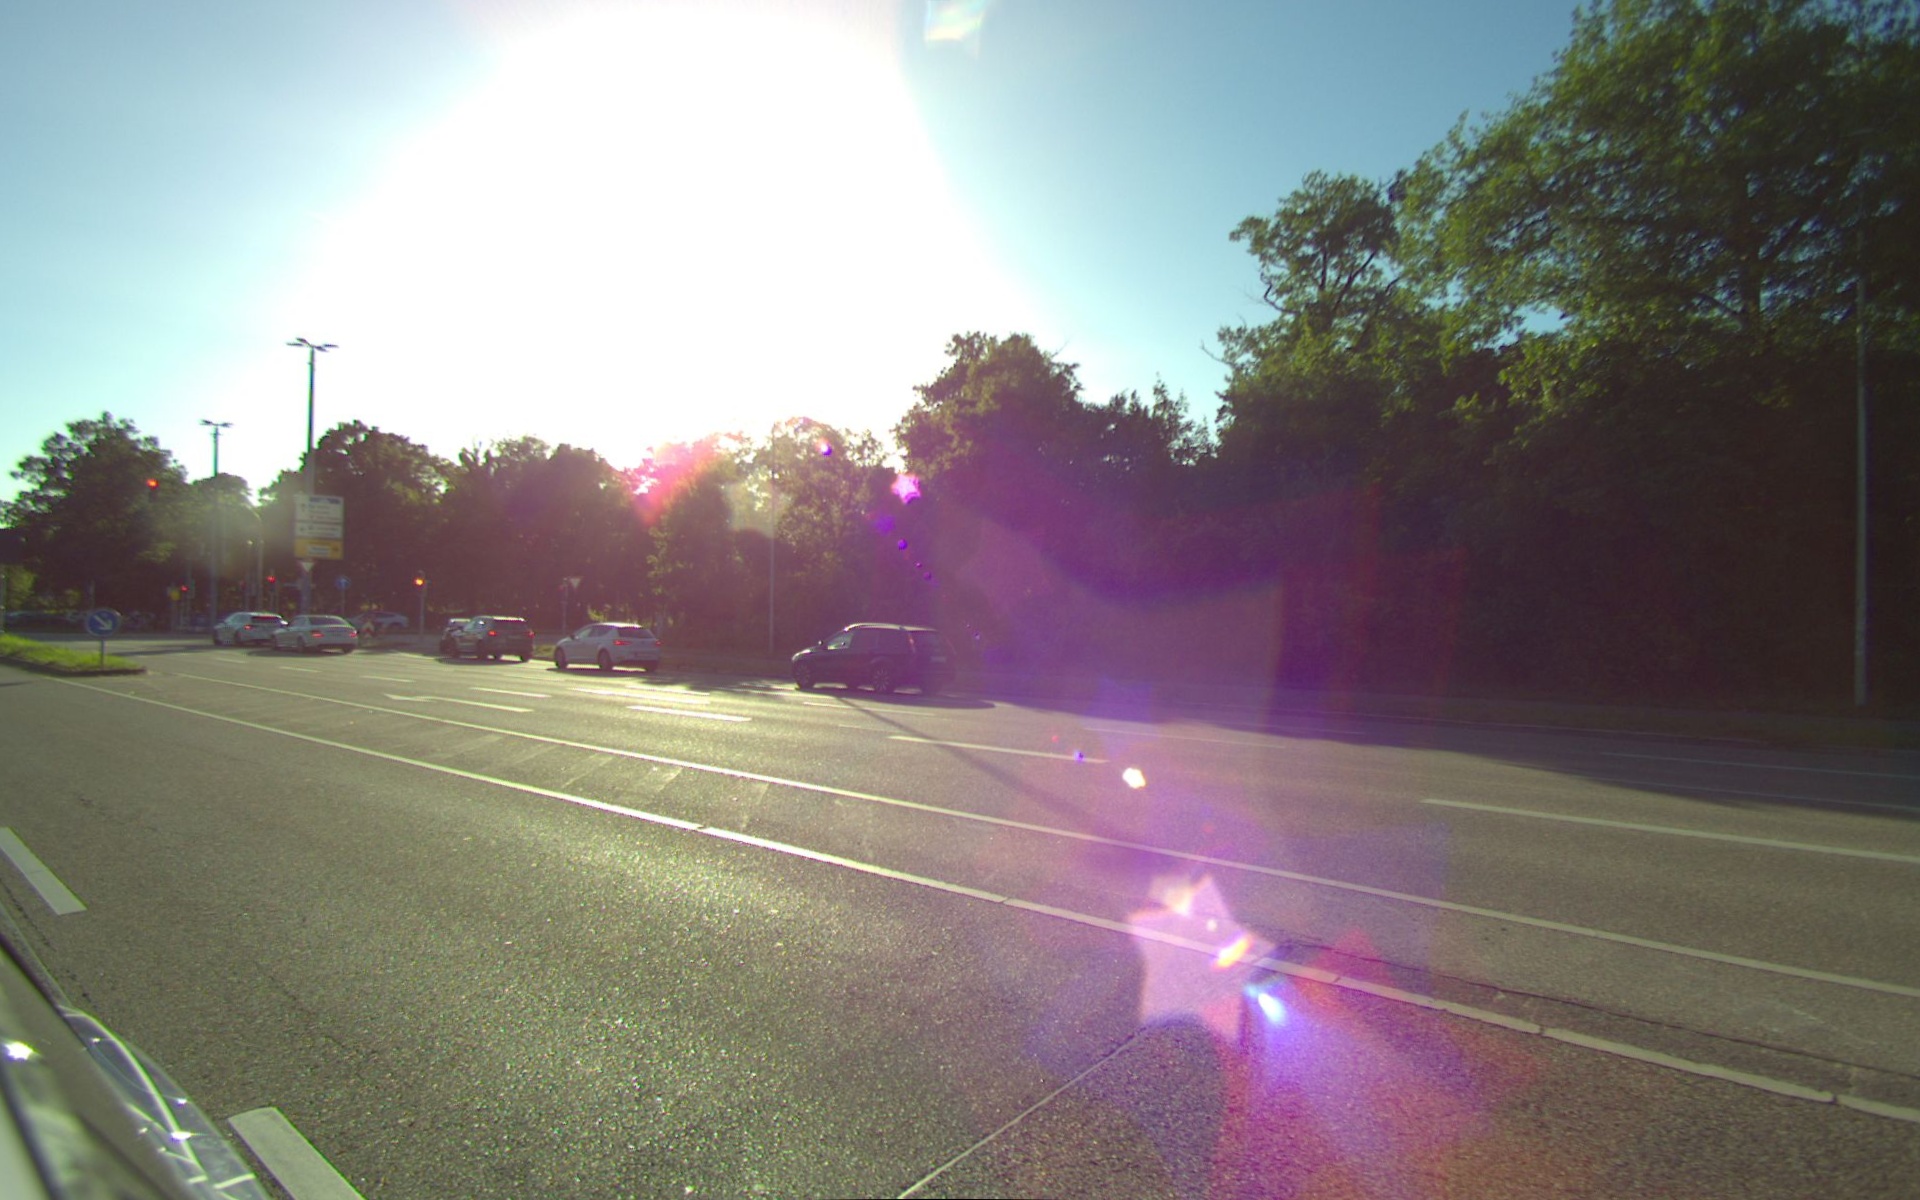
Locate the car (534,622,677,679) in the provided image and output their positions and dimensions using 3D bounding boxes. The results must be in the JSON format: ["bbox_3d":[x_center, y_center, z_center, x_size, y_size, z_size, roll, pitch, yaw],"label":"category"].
[{"bbox_3d":[-11.057,1.539,31.450,4.643,1.576,1.974,-1,-5,39],"label":"car"}]

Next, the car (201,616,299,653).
[{"bbox_3d":[-30.636,1.466,43.628,4.833,1.462,1.975,0,-3,36],"label":"car"}]

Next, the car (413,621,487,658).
[{"bbox_3d":[-21.541,1.663,42.924,1.966,1.462,4.661,1,-2,-16],"label":"car"}]

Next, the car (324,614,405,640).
[{"bbox_3d":[-40.536,1.846,68.961,4.662,1.700,2.006,2,-2,-33],"label":"car"}]

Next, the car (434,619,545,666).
[{"bbox_3d":[-17.507,1.558,37.550,4.646,1.576,1.973,-1,-4,41],"label":"car"}]

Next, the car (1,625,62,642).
[{"bbox_3d":[-91.320,3.254,99.538,1.988,1.530,3.968,1,0,24],"label":"car"}]

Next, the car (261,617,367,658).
[{"bbox_3d":[-24.824,1.436,38.830,4.642,1.462,1.974,-1,-3,39],"label":"car"}]

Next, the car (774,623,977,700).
[{"bbox_3d":[-2.025,1.383,23.355,4.646,1.576,1.973,-1,-4,41],"label":"car"}]
